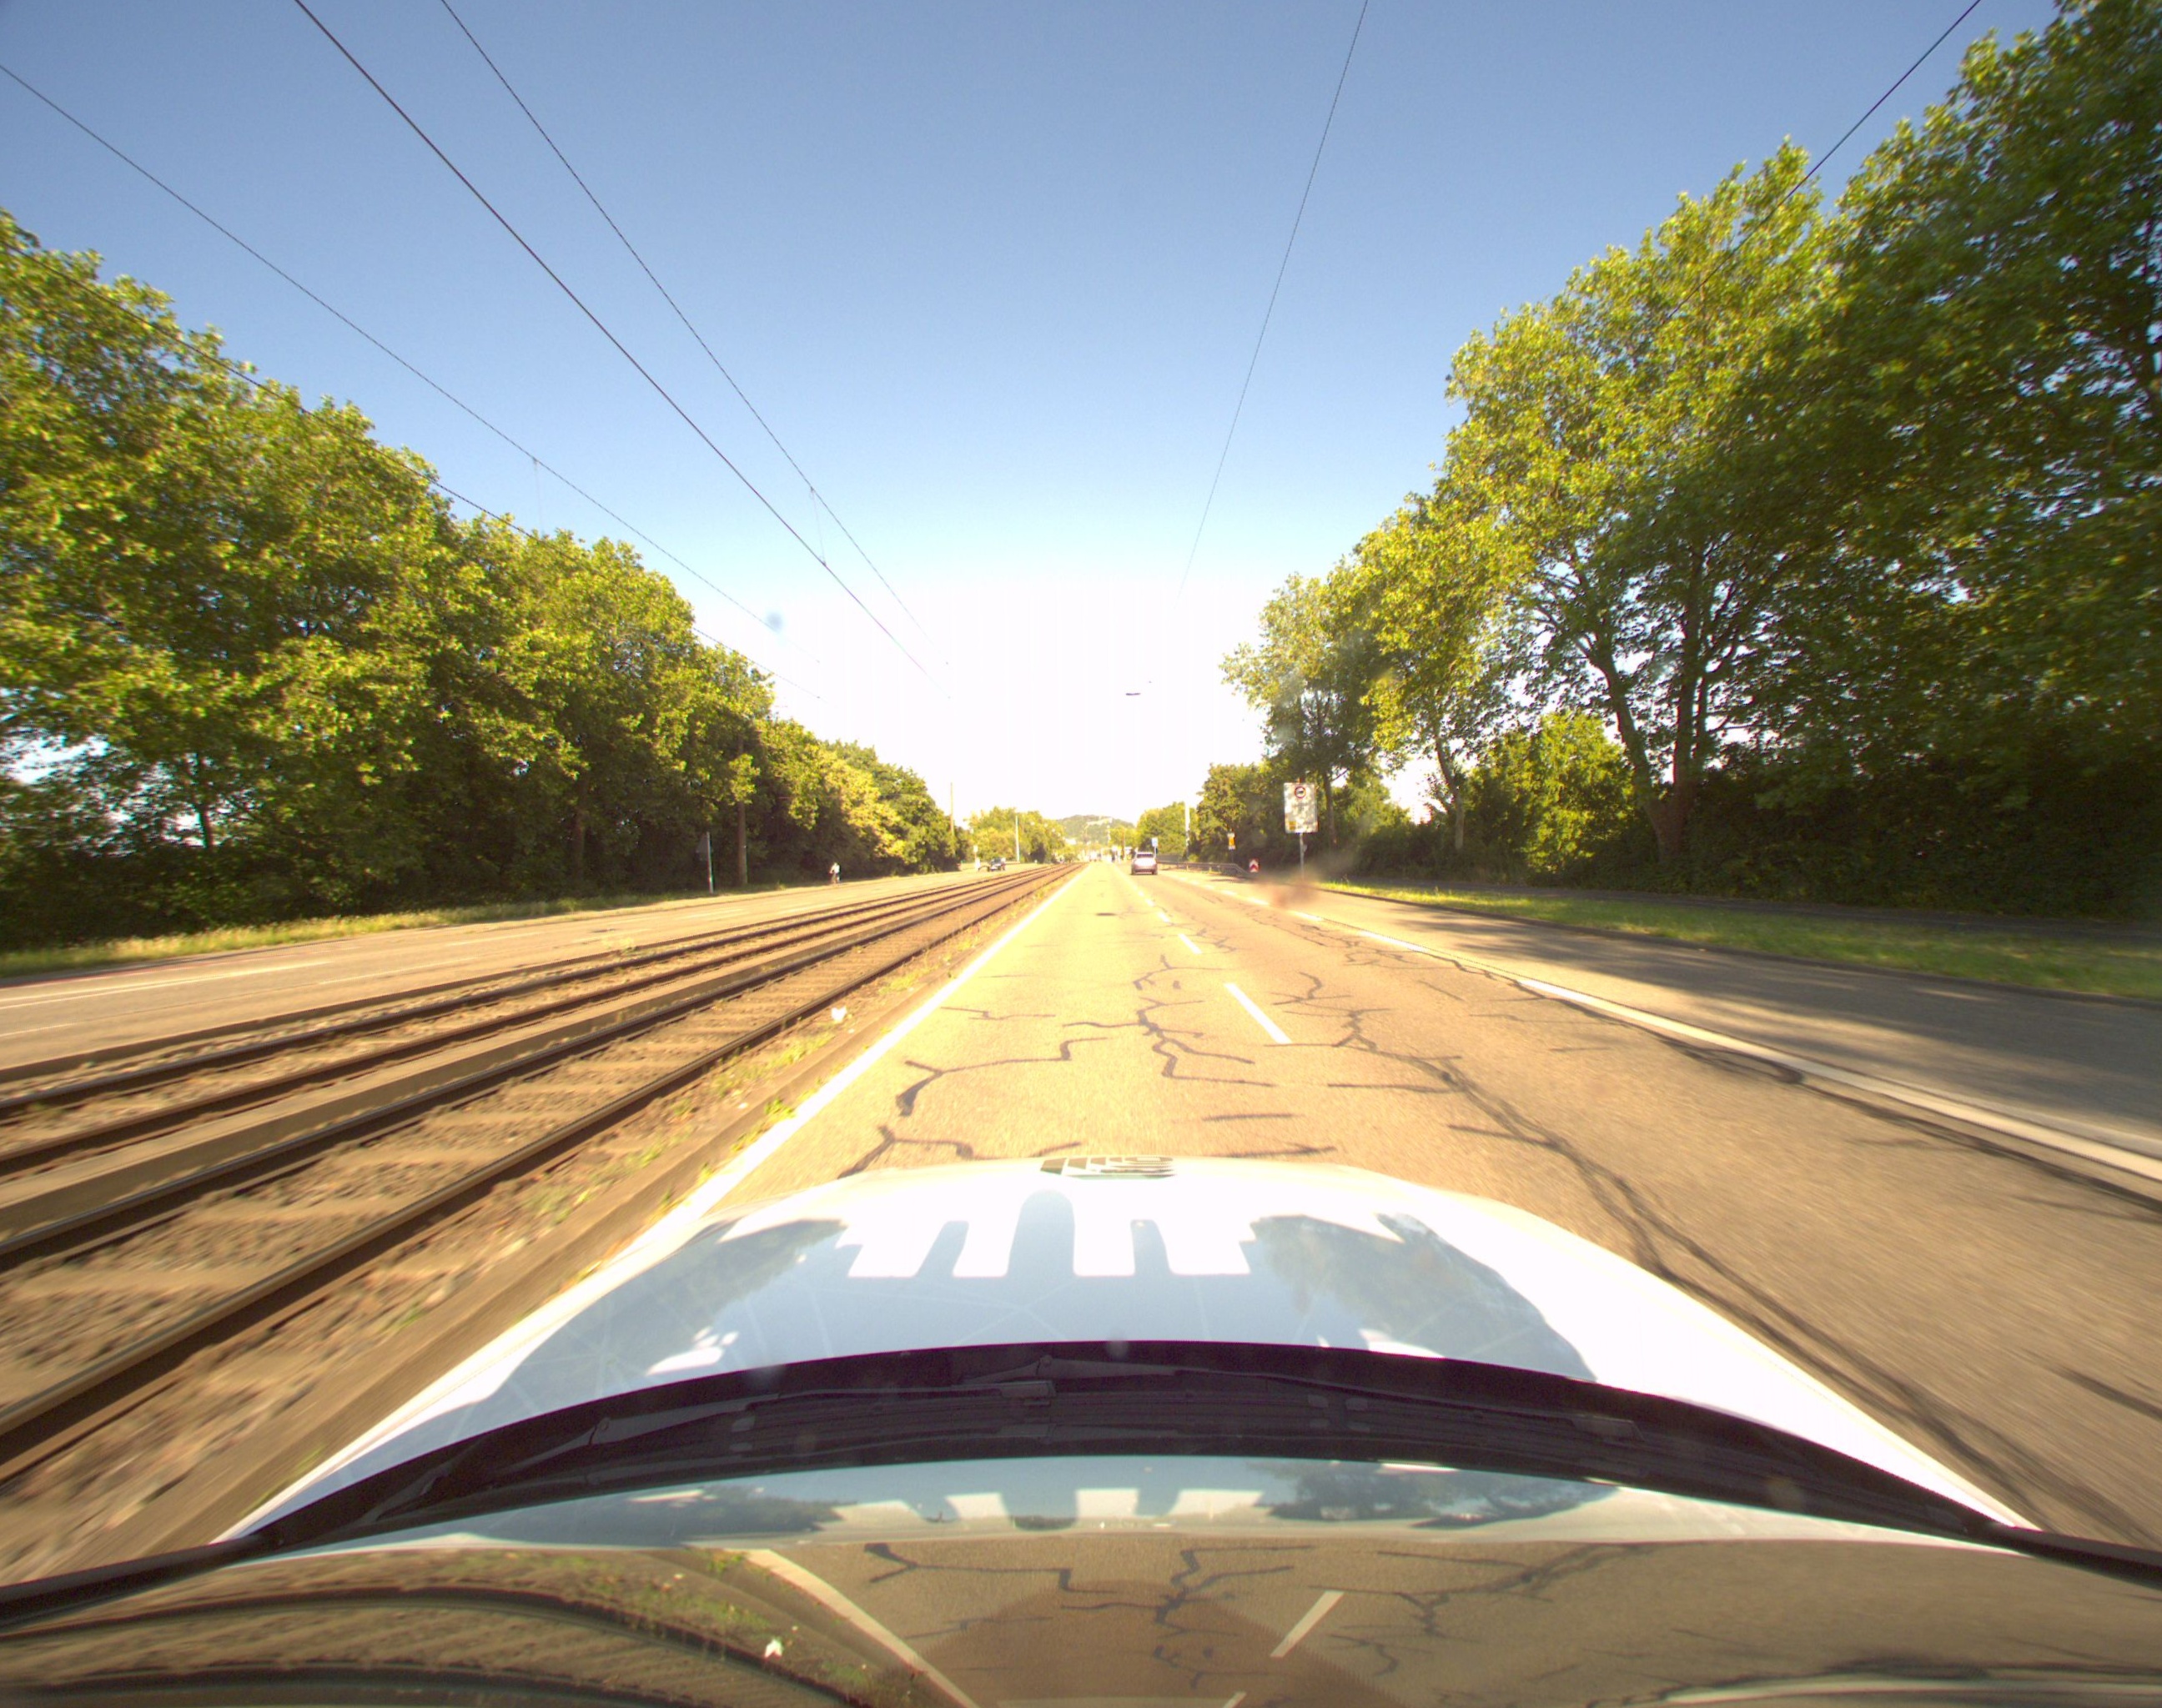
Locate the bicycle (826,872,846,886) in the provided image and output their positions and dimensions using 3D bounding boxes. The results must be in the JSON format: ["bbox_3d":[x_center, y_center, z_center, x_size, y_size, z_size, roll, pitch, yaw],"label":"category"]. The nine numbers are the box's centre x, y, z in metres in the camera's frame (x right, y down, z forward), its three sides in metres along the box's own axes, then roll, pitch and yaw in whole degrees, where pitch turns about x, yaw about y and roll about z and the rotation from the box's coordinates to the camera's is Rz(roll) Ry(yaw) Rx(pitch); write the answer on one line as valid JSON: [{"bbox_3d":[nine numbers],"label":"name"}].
[{"bbox_3d":[-18.088,1.817,60.094,0.547,0.986,2.243,0,0,7],"label":"bicycle"}]

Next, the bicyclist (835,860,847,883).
[{"bbox_3d":[-17.776,1.285,60.301,0.548,1.690,0.821,0,-1,5],"label":"bicyclist"}]

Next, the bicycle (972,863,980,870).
[{"bbox_3d":[-13.570,1.585,105.213,0.505,0.892,2.030,0,0,5],"label":"bicycle"}]

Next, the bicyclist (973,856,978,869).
[{"bbox_3d":[-13.581,1.075,105.057,0.505,1.687,0.920,0,-1,4],"label":"bicyclist"}]

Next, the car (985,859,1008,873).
[{"bbox_3d":[-10.859,1.495,105.111,1.984,1.685,4.802,-3,-1,5],"label":"car"}]

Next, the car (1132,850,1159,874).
[{"bbox_3d":[4.848,0.592,61.423,1.880,1.693,4.261,-1,0,4],"label":"car"}]
